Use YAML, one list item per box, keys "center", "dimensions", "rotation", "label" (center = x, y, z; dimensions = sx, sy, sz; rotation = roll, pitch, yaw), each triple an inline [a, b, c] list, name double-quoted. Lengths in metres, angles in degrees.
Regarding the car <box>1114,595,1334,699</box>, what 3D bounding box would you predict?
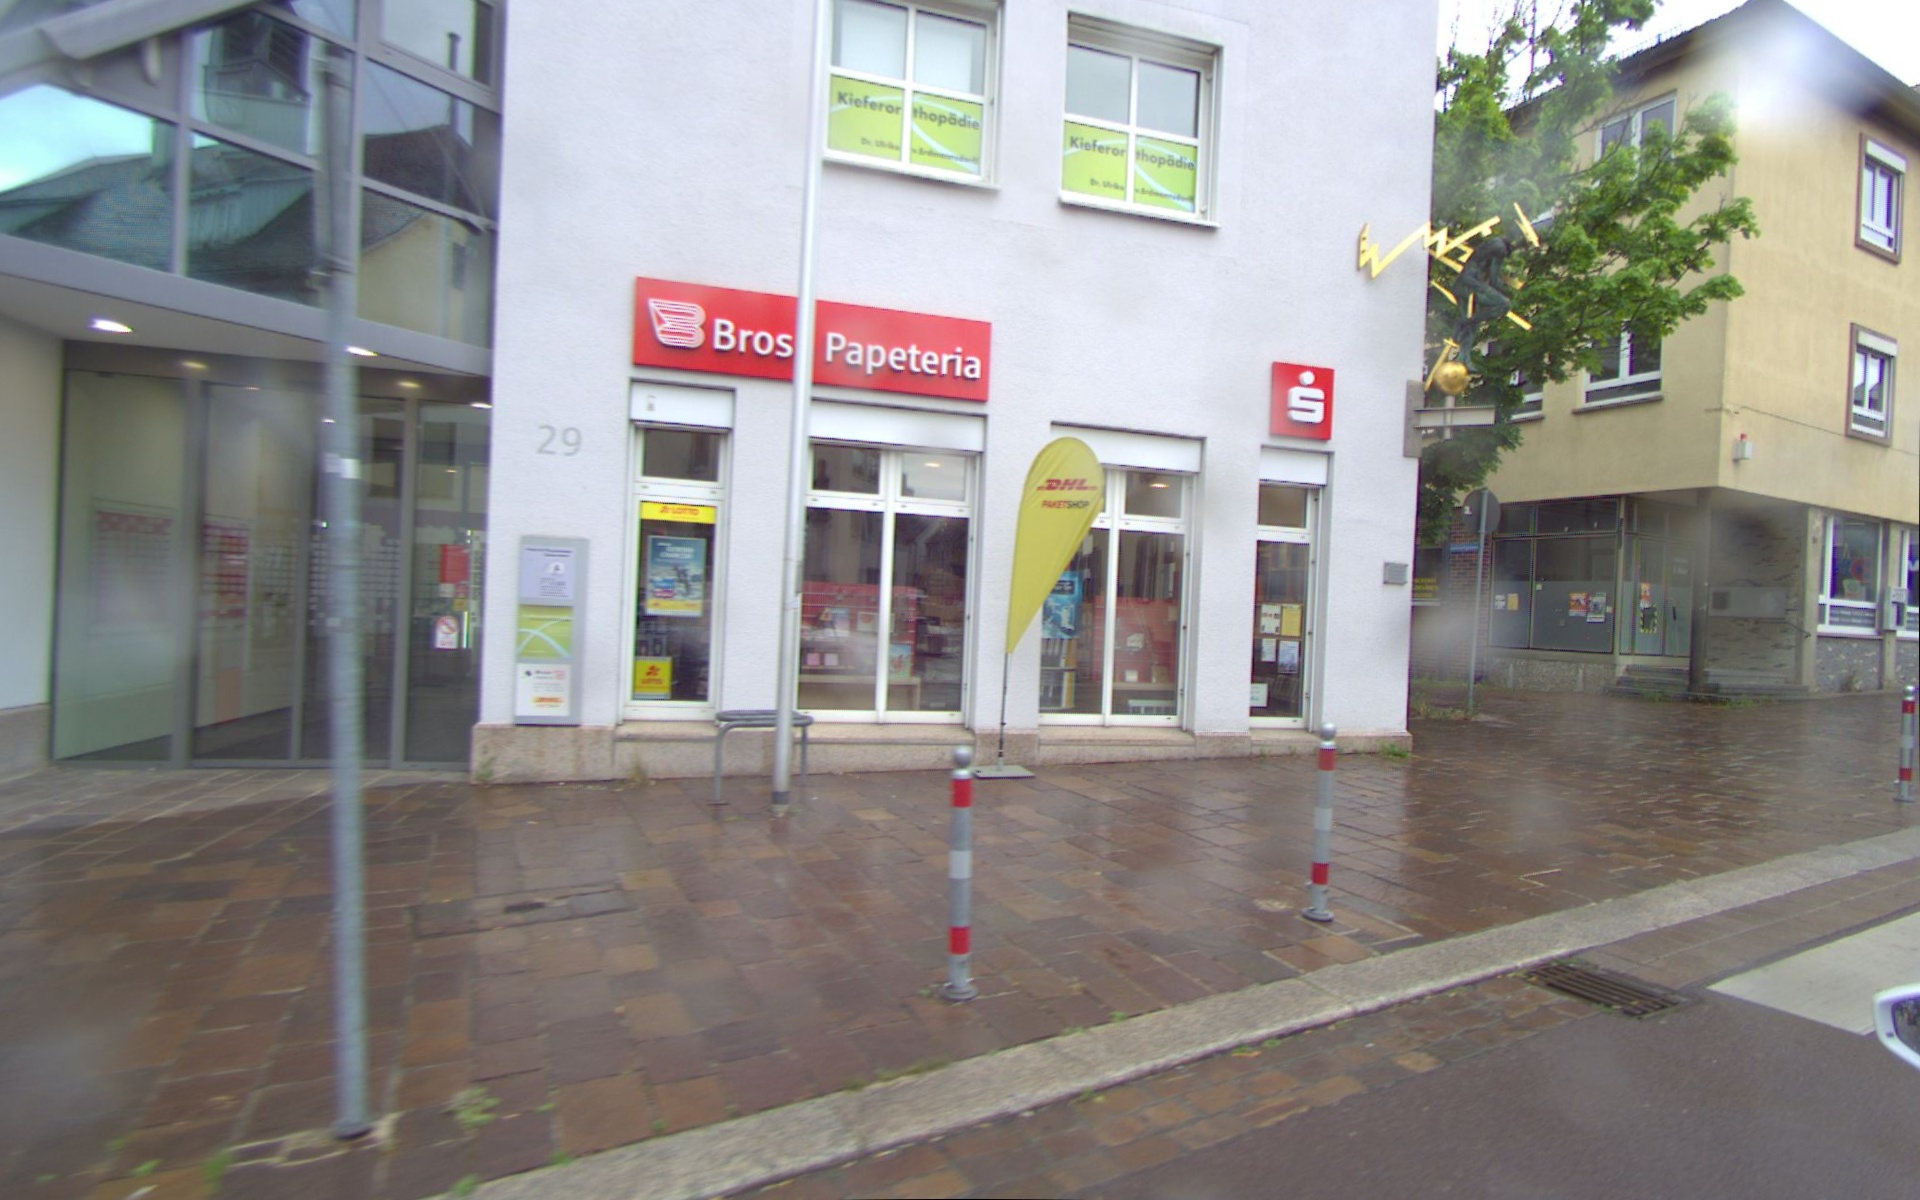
- center: [4.450, 0.748, 17.573]
  dimensions: [1.934, 1.585, 3.986]
  rotation: [1, -1, -17]
  label: "car"
